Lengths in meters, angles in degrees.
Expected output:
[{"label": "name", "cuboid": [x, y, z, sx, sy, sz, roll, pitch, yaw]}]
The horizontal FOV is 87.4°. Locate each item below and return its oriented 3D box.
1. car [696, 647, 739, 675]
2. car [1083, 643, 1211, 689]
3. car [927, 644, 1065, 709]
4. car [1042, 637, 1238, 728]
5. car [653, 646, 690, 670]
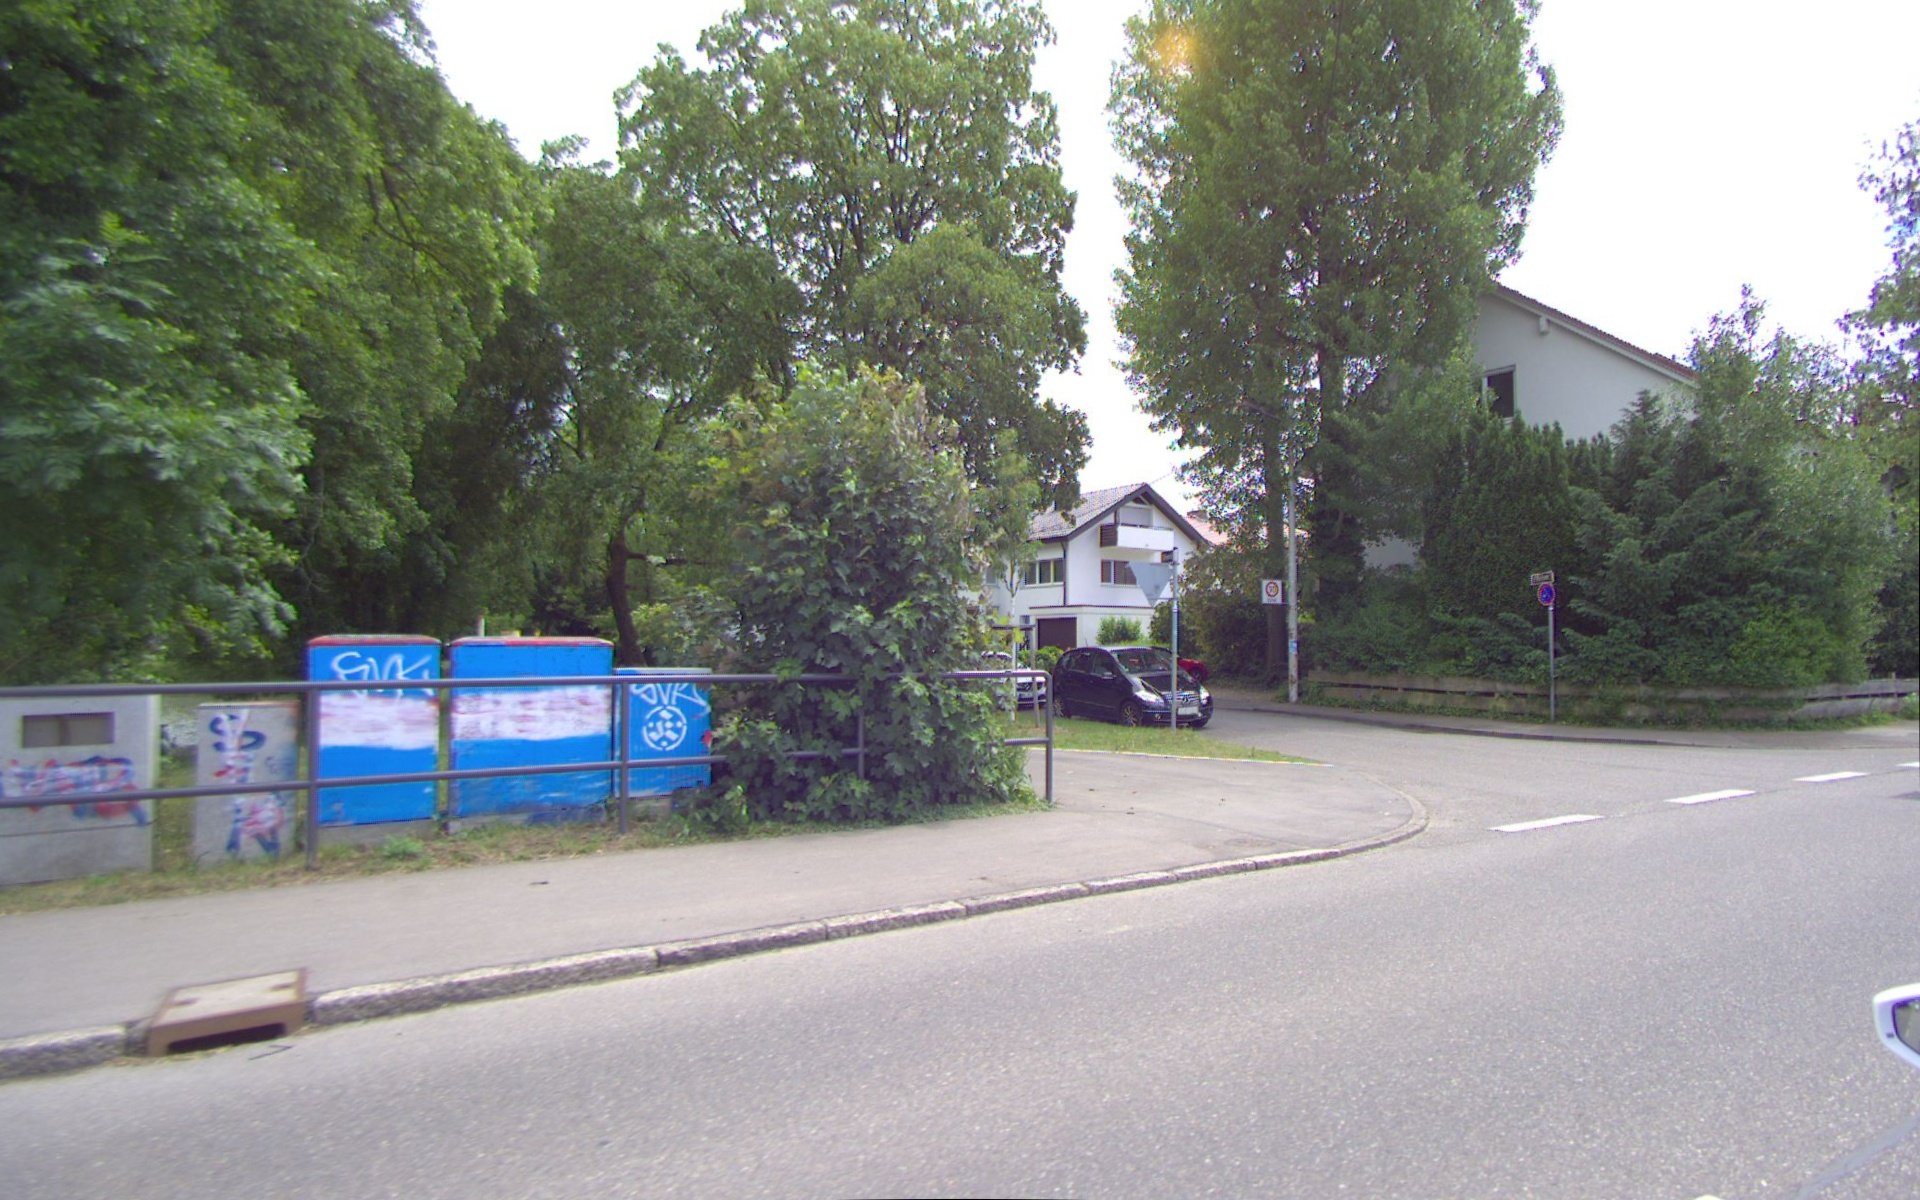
[{"label": "car", "cuboid": [-14.078, 3.492, 58.209, 1.877, 1.499, 3.769, 1, -2, -23]}, {"label": "car", "cuboid": [6.397, 2.236, 34.370, 3.942, 1.406, 1.833, -1, -3, -23]}, {"label": "car", "cuboid": [0.843, 1.923, 26.059, 1.818, 1.537, 3.971, 1, -3, -29]}, {"label": "car", "cuboid": [3.500, 1.572, 20.294, 1.942, 1.642, 3.974, 1, -3, -26]}, {"label": "car", "cuboid": [-19.758, 3.926, 68.678, 1.928, 1.499, 3.979, 1, -2, -23]}]
